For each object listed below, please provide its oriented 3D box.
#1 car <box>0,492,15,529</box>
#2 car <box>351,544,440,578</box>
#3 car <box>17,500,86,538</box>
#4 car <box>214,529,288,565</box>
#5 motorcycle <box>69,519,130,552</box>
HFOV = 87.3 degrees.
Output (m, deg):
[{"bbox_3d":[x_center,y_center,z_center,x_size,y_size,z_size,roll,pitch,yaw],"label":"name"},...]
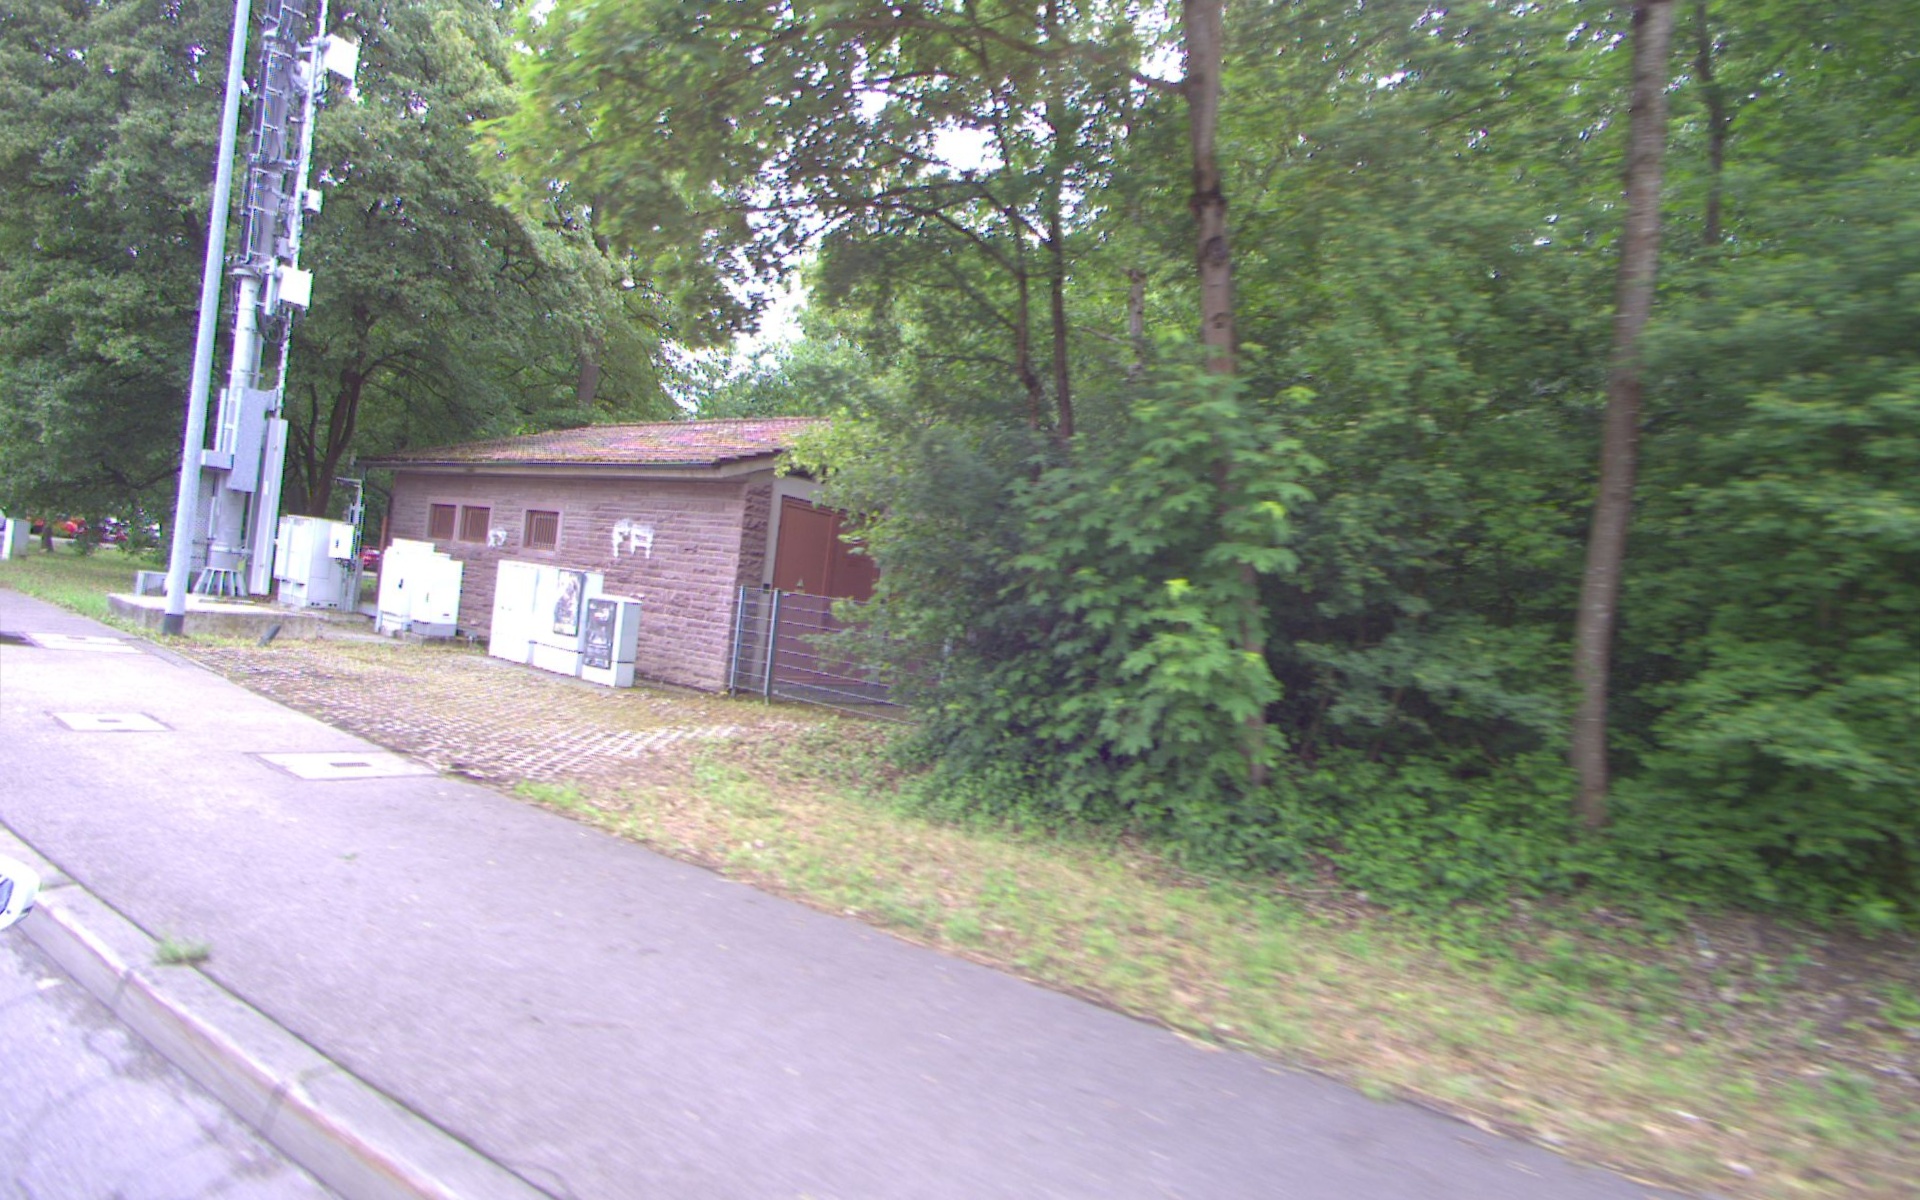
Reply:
[{"bbox_3d":[-41.601,-3.909,42.561,1.825,1.555,3.959,7,-1,-37],"label":"car"},{"bbox_3d":[-30.103,-2.063,53.774,1.535,1.342,3.819,7,-1,31],"label":"car"},{"bbox_3d":[-39.824,-3.547,44.174,1.825,1.342,3.959,7,-1,-37],"label":"car"},{"bbox_3d":[-35.217,-2.643,49.943,3.763,1.342,1.558,6,0,32],"label":"car"},{"bbox_3d":[-35.343,-2.653,41.340,1.822,1.070,0.607,8,-1,-44],"label":"motorcycle"}]
